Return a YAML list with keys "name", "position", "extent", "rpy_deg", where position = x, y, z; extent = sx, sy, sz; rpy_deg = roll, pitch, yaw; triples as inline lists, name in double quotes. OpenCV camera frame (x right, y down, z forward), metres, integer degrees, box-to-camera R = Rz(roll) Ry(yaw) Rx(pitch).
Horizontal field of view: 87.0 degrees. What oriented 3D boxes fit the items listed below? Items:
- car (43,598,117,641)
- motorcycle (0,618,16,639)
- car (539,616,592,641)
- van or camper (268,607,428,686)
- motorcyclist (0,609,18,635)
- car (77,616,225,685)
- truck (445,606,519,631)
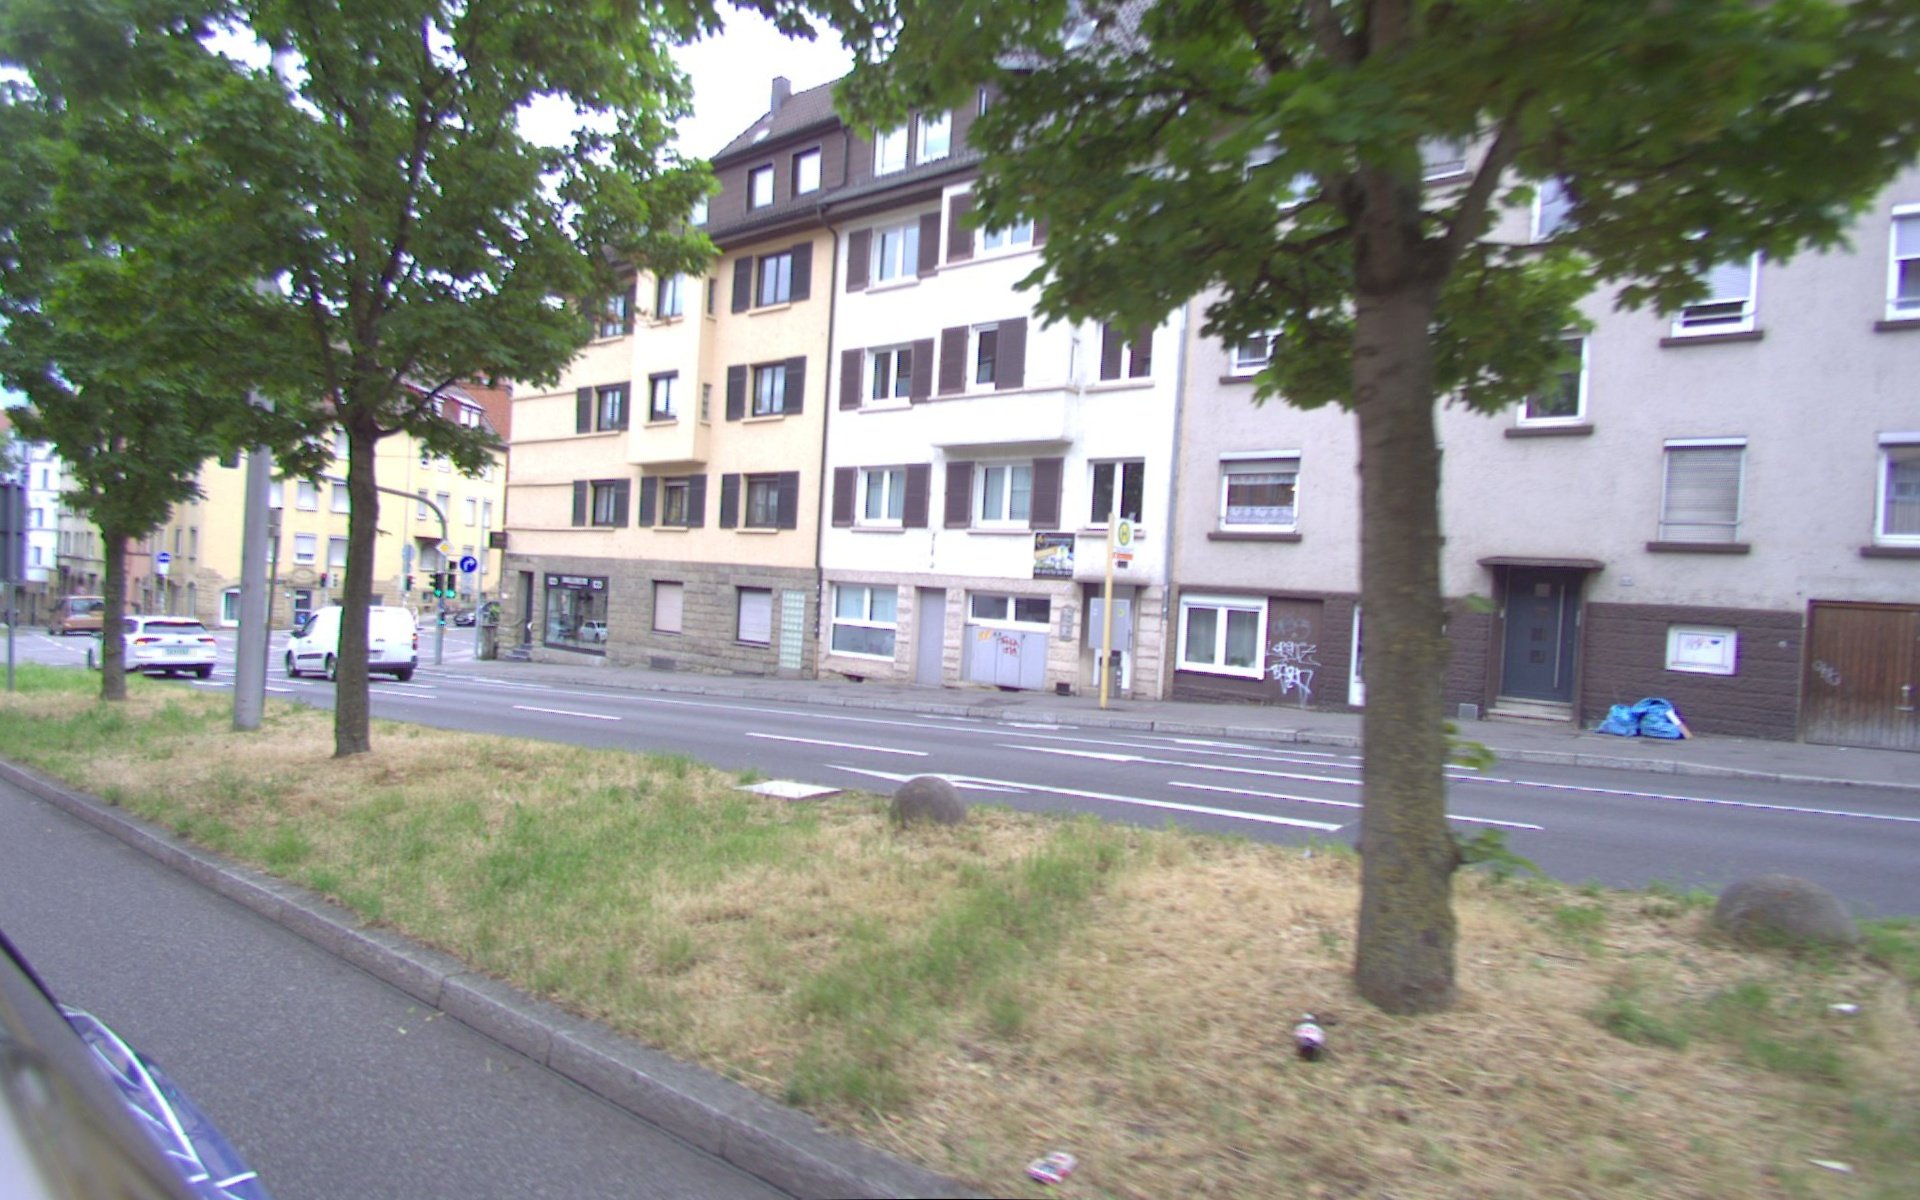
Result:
- name: "car"
  position: [-40.659, 0.939, 46.719]
  extent: [4.347, 1.830, 1.861]
  rpy_deg: [-3, -3, 39]
- name: "motorcycle"
  position: [-56.369, 1.659, 59.847]
  extent: [2.203, 1.193, 0.539]
  rpy_deg: [1, -1, 40]
- name: "car"
  position: [-27.906, 2.007, 71.665]
  extent: [1.842, 1.734, 3.845]
  rpy_deg: [0, -2, 9]
- name: "van or camper"
  position: [-15.152, 1.078, 24.965]
  extent: [4.649, 1.775, 1.889]
  rpy_deg: [0, -2, 39]
- name: "motorcyclist"
  position: [-56.293, 1.309, 59.890]
  extent: [0.661, 1.486, 0.666]
  rpy_deg: [0, -1, 40]
- name: "car"
  position: [-19.400, 1.146, 24.199]
  extent: [4.579, 1.478, 1.729]
  rpy_deg: [0, -2, 38]
- name: "truck"
  position: [-28.450, 1.082, 60.416]
  extent: [1.836, 1.429, 3.978]
  rpy_deg: [0, -1, 16]
